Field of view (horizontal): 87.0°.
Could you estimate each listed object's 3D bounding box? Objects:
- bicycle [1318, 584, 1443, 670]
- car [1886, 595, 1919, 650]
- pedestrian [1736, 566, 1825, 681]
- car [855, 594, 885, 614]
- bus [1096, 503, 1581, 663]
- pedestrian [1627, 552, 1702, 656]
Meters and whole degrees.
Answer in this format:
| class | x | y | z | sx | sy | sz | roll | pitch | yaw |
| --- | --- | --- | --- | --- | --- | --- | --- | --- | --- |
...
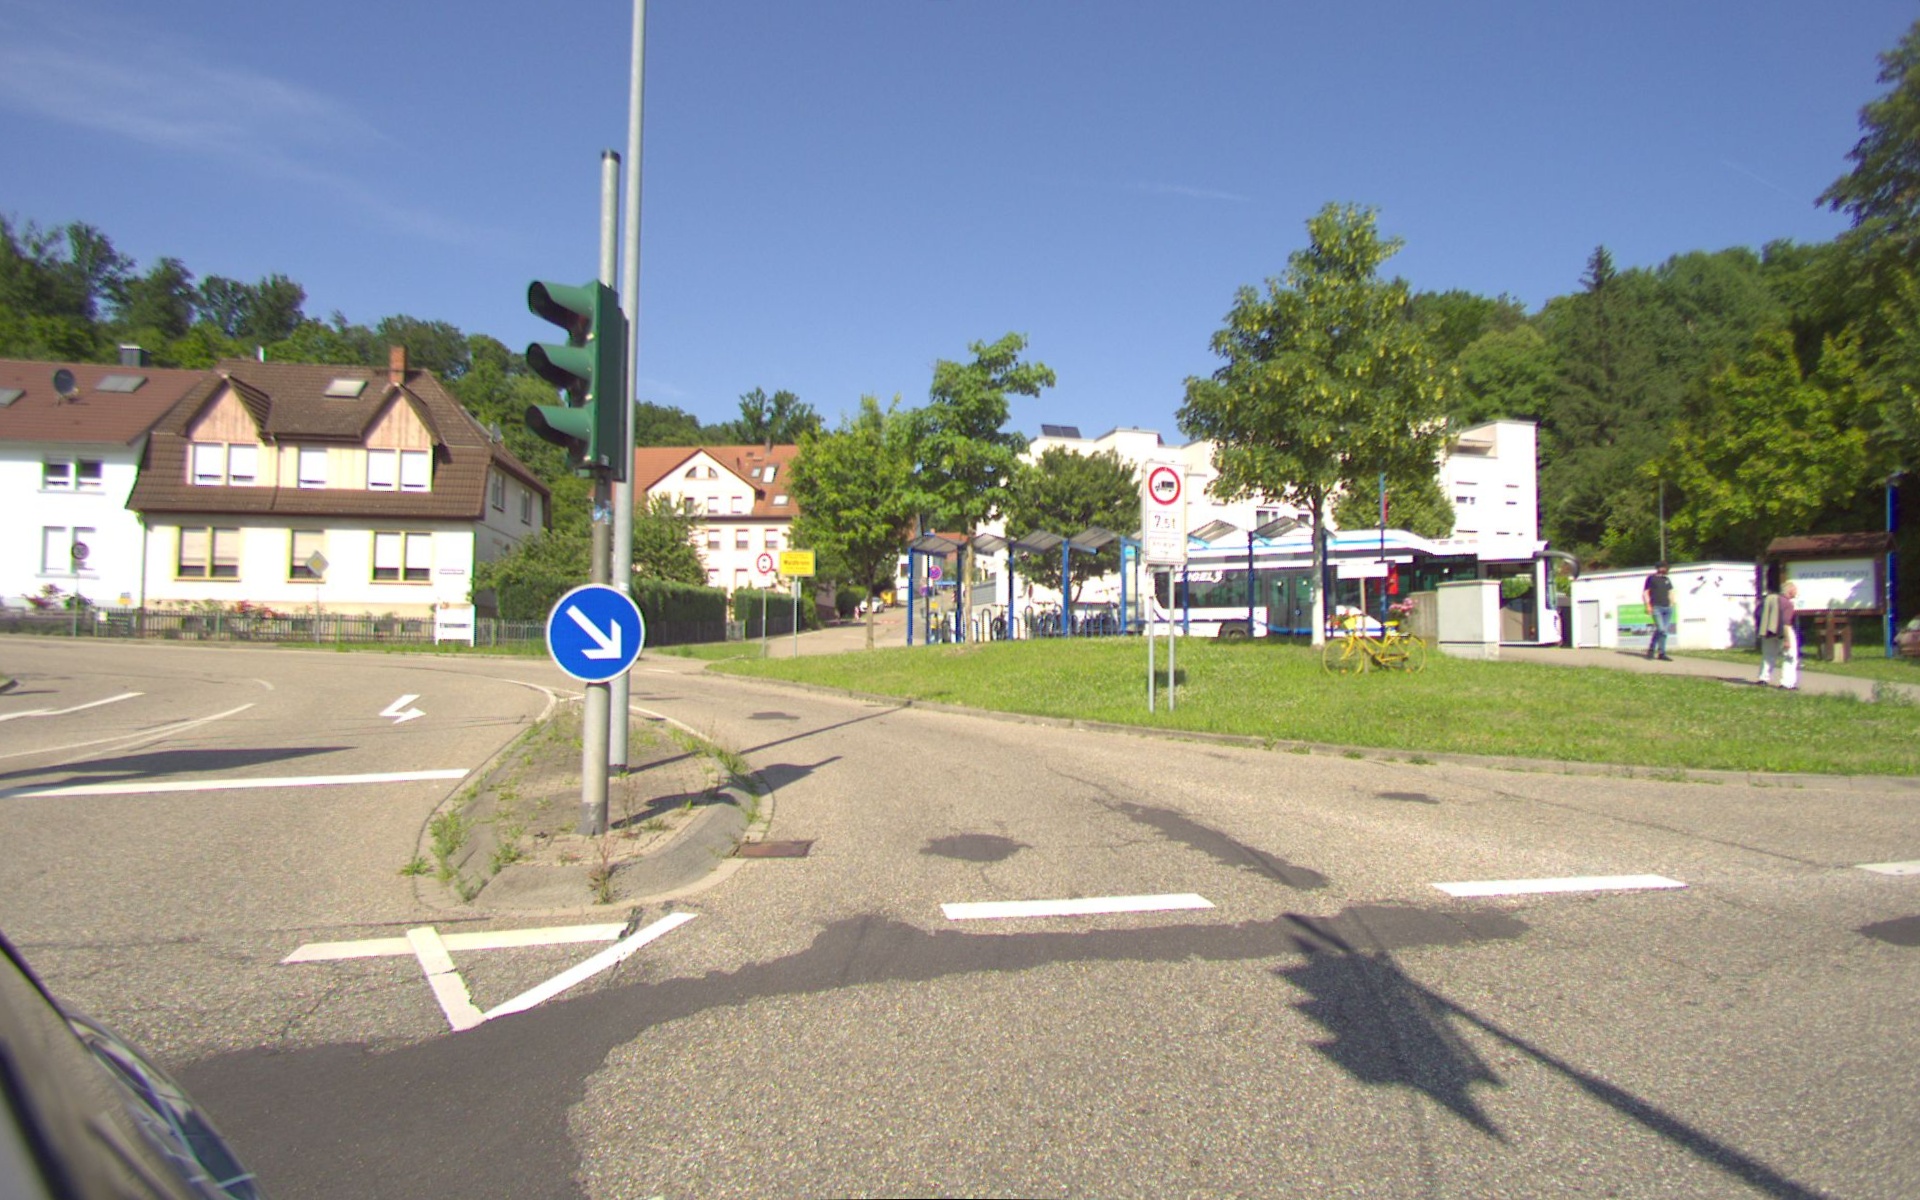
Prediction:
| class | x | y | z | sx | sy | sz | roll | pitch | yaw |
| --- | --- | --- | --- | --- | --- | --- | --- | --- | --- |
| bicycle | 6.776 | 0.426 | 16.363 | 1.732 | 1.264 | 0.620 | -3 | 3 | 0 |
| car | 28.814 | 0.656 | 29.266 | 1.903 | 1.571 | 3.966 | -1 | 1 | 26 |
| pedestrian | 12.415 | 0.340 | 15.329 | 0.729 | 1.690 | 0.714 | -1 | 0 | -6 |
| car | -8.474 | 0.349 | 95.349 | 1.976 | 1.822 | 3.991 | 0 | 0 | 8 |
| bus | 9.980 | -0.364 | 28.015 | 12.172 | 3.742 | 2.840 | -1 | 1 | 31 |
| pedestrian | 13.342 | 0.062 | 19.185 | 0.844 | 1.922 | 0.742 | 0 | 2 | -7 |
